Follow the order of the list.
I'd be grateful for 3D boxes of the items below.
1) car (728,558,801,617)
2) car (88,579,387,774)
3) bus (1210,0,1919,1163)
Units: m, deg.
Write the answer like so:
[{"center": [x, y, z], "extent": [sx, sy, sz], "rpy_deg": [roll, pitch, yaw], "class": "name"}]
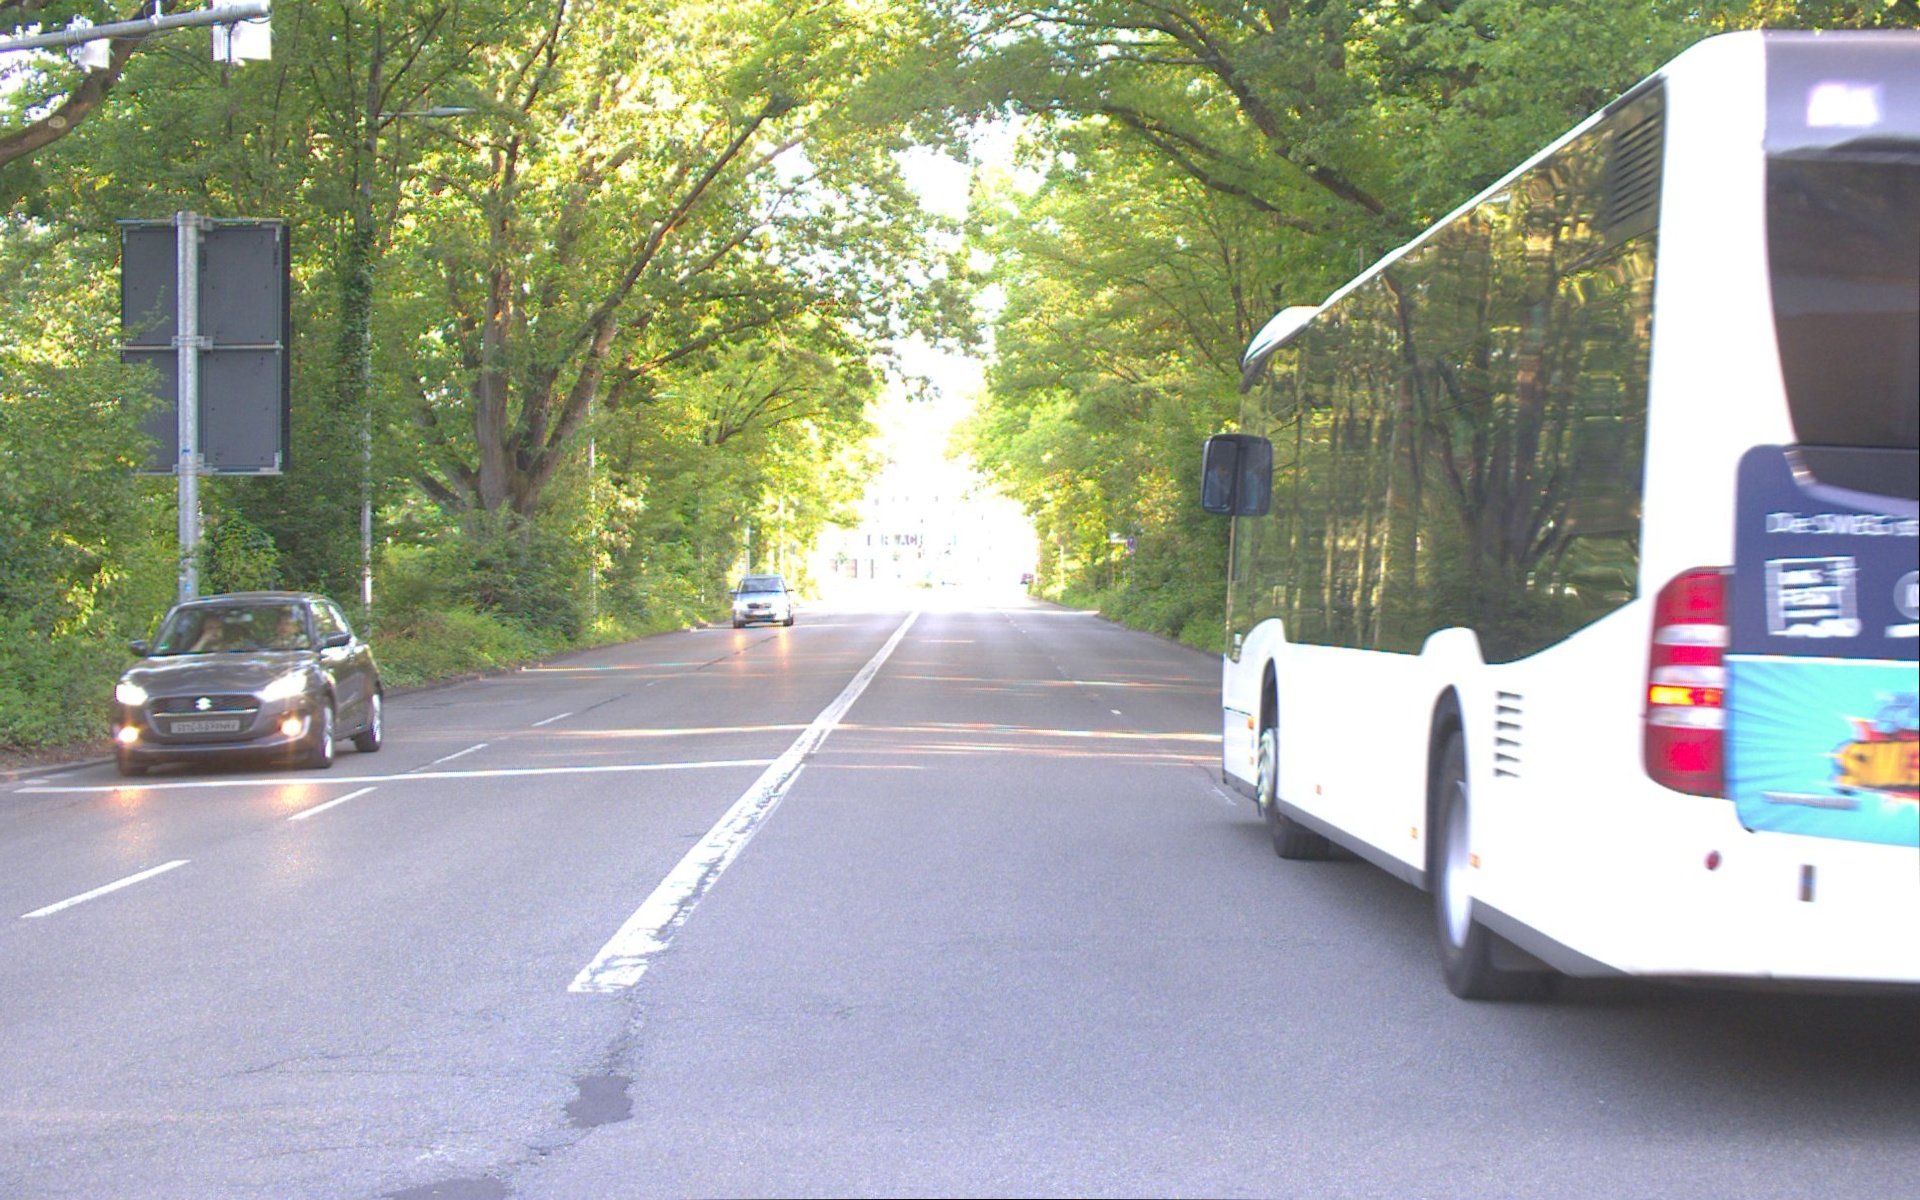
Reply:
[{"center": [-5.584, -0.371, 98.663], "extent": [1.806, 1.574, 4.319], "rpy_deg": [-2, 1, 0], "class": "car"}, {"center": [-5.996, 0.592, 28.918], "extent": [1.707, 1.448, 3.640], "rpy_deg": [-2, 1, 0], "class": "car"}, {"center": [3.059, -0.213, 14.620], "extent": [3.012, 3.077, 12.270], "rpy_deg": [0, 1, 0], "class": "bus"}]
